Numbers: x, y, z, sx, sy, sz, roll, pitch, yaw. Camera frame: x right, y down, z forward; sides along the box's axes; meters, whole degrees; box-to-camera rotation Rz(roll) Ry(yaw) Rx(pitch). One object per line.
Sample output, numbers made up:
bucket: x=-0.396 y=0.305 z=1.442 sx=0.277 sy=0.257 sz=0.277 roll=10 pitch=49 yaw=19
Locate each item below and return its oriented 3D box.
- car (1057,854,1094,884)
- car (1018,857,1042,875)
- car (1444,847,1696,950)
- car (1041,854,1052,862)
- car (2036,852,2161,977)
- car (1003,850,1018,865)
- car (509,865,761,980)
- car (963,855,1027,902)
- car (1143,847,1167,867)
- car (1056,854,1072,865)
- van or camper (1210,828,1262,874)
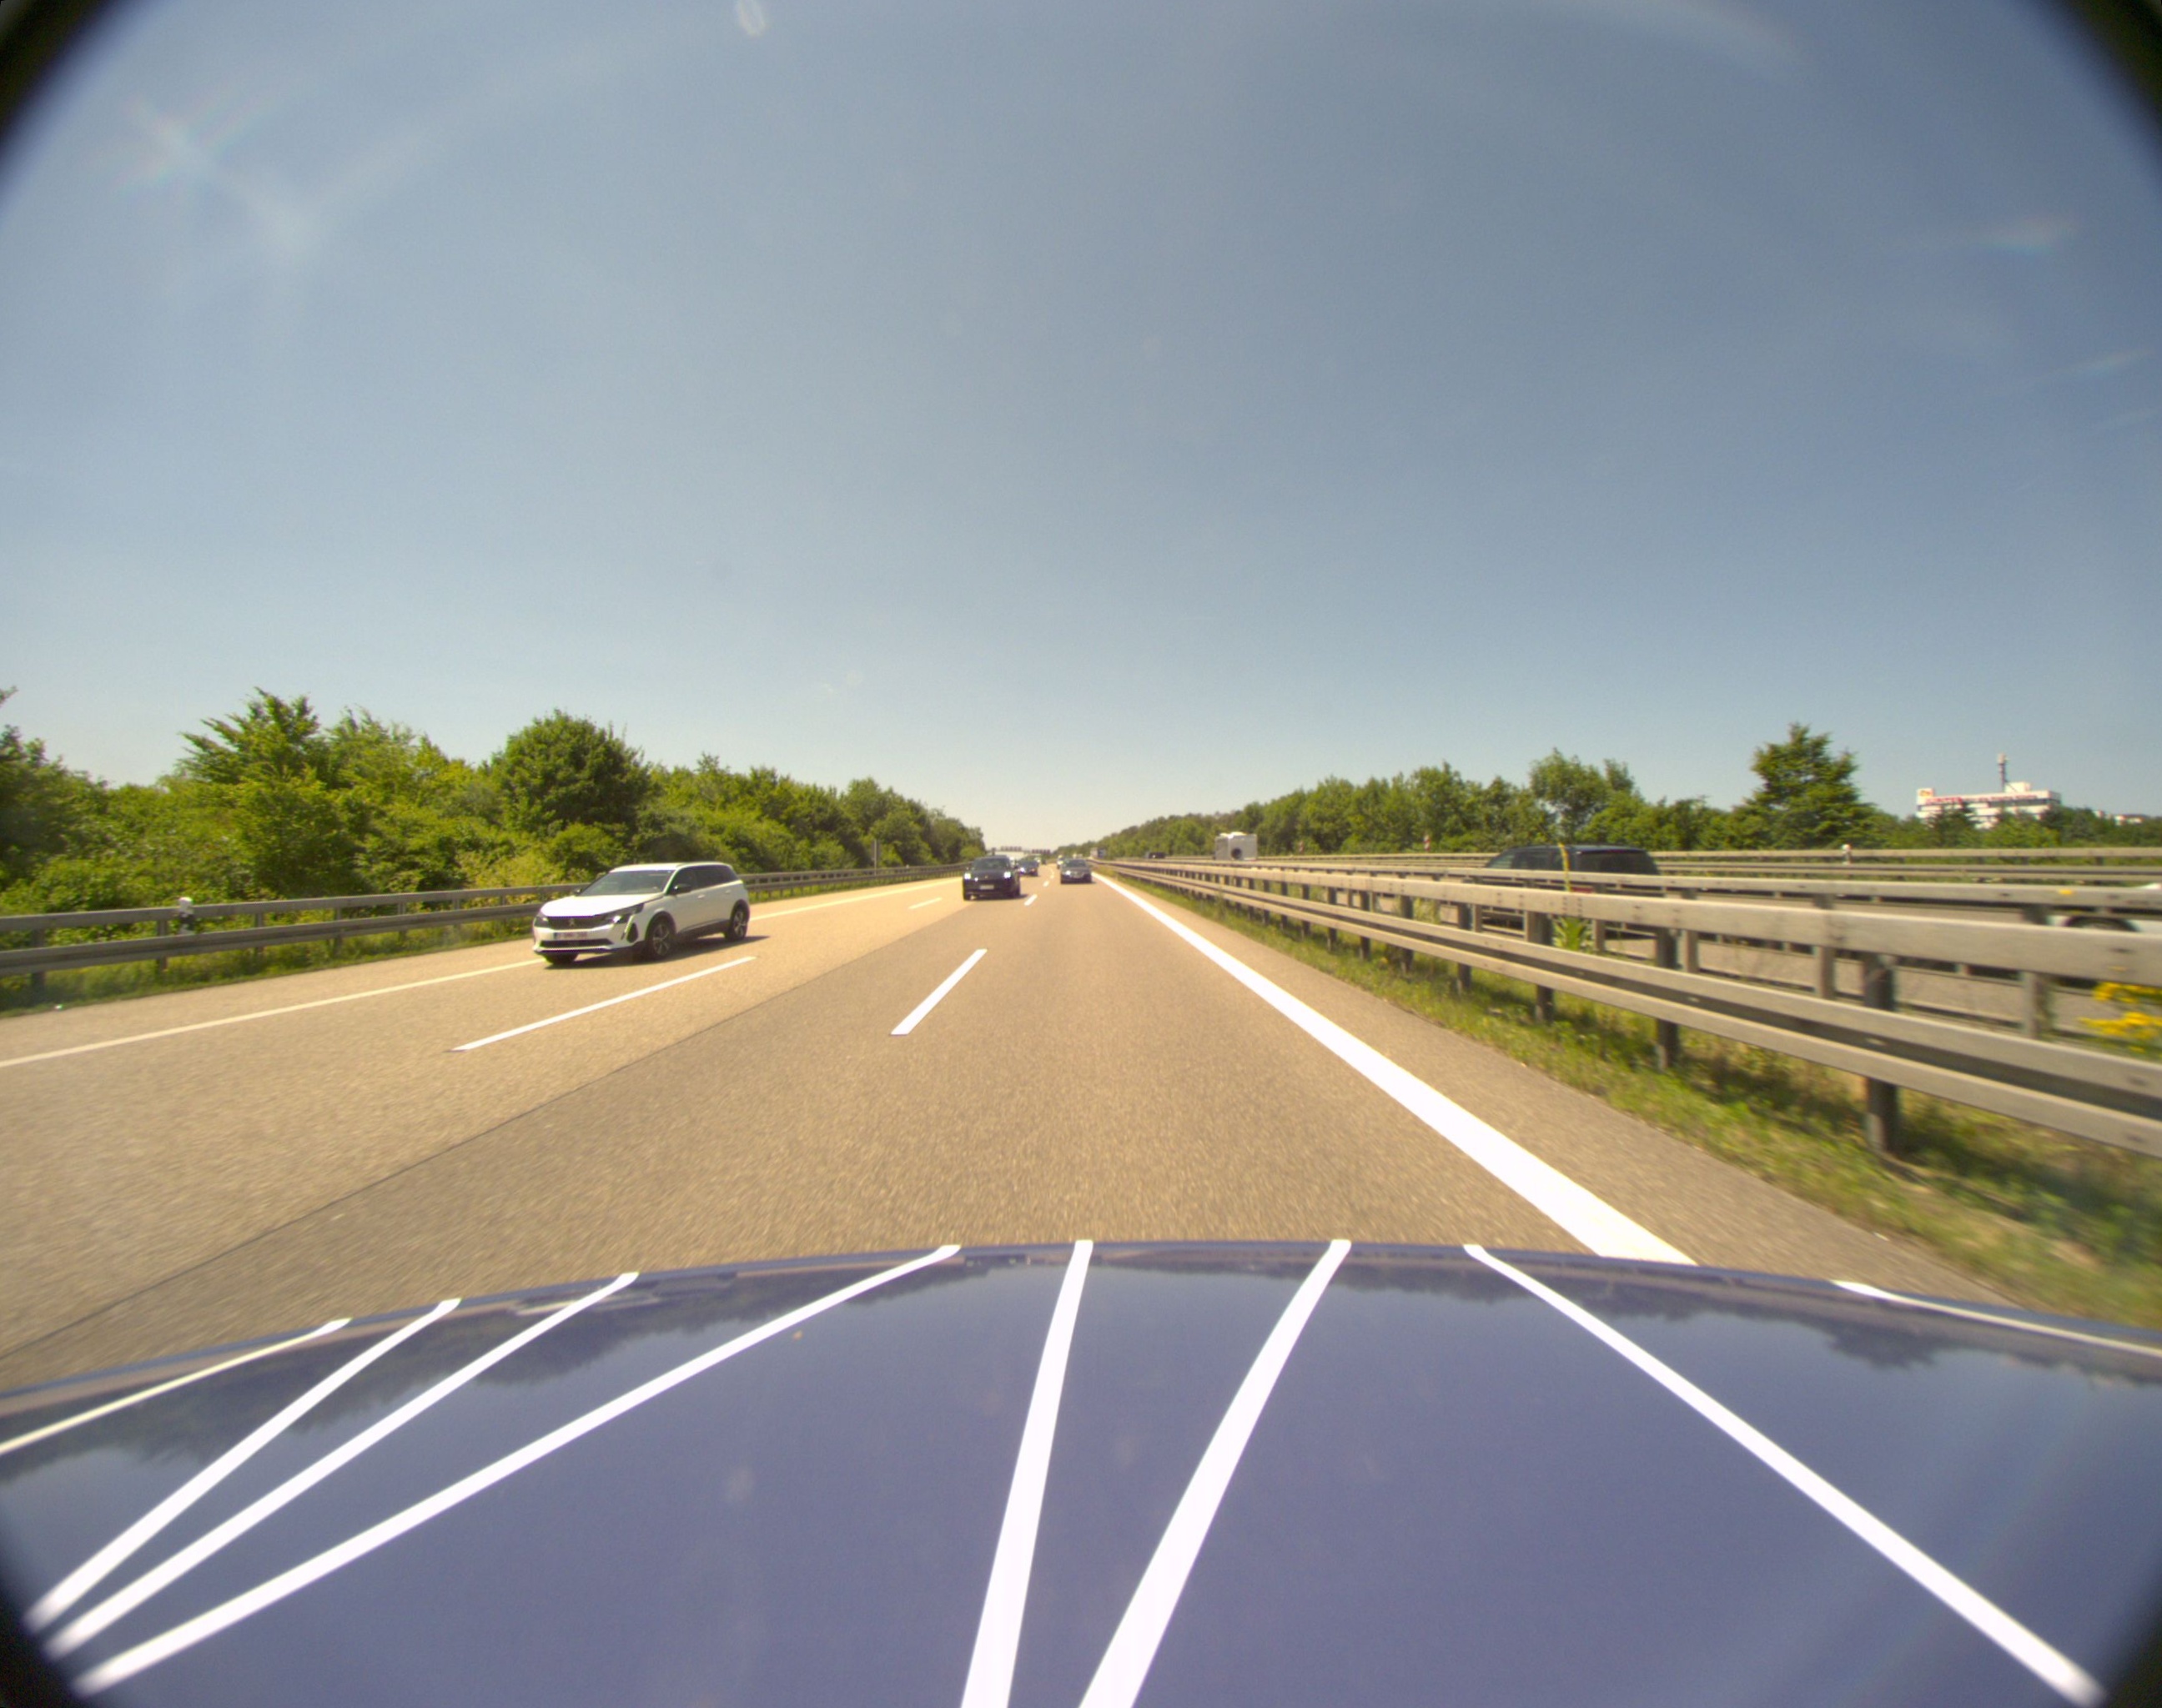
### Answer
car: x=-0.267 y=0.831 z=44.286 sx=1.931 sy=1.499 sz=4.391 roll=-2 pitch=1 yaw=2
car: x=-4.422 y=1.000 z=66.313 sx=1.932 sy=1.390 sz=4.116 roll=-2 pitch=1 yaw=-1
car: x=8.865 y=0.700 z=14.379 sx=1.753 sy=1.577 sz=4.690 roll=-2 pitch=0 yaw=1
car: x=-8.471 y=1.065 z=186.409 sx=2.000 sy=1.849 sz=3.996 roll=-2 pitch=1 yaw=-10
car: x=13.180 y=0.693 z=7.734 sx=1.753 sy=1.377 sz=4.097 roll=-2 pitch=0 yaw=0
car: x=-9.717 y=0.438 z=104.823 sx=1.809 sy=1.908 sz=4.293 roll=-2 pitch=1 yaw=-2
car: x=-7.715 y=1.069 z=13.793 sx=1.748 sy=1.582 sz=4.619 roll=-2 pitch=1 yaw=1
car: x=-3.264 y=0.898 z=29.546 sx=1.931 sy=1.586 sz=4.131 roll=-2 pitch=1 yaw=1
car: x=7.417 y=0.315 z=76.775 sx=1.931 sy=1.881 sz=4.484 roll=-2 pitch=0 yaw=1
car: x=-2.344 y=0.802 z=105.829 sx=1.931 sy=1.390 sz=4.117 roll=-2 pitch=1 yaw=1
van or camper: x=11.895 y=-0.215 z=58.893 sx=2.319 sy=3.292 sz=6.831 roll=-2 pitch=0 yaw=-1
